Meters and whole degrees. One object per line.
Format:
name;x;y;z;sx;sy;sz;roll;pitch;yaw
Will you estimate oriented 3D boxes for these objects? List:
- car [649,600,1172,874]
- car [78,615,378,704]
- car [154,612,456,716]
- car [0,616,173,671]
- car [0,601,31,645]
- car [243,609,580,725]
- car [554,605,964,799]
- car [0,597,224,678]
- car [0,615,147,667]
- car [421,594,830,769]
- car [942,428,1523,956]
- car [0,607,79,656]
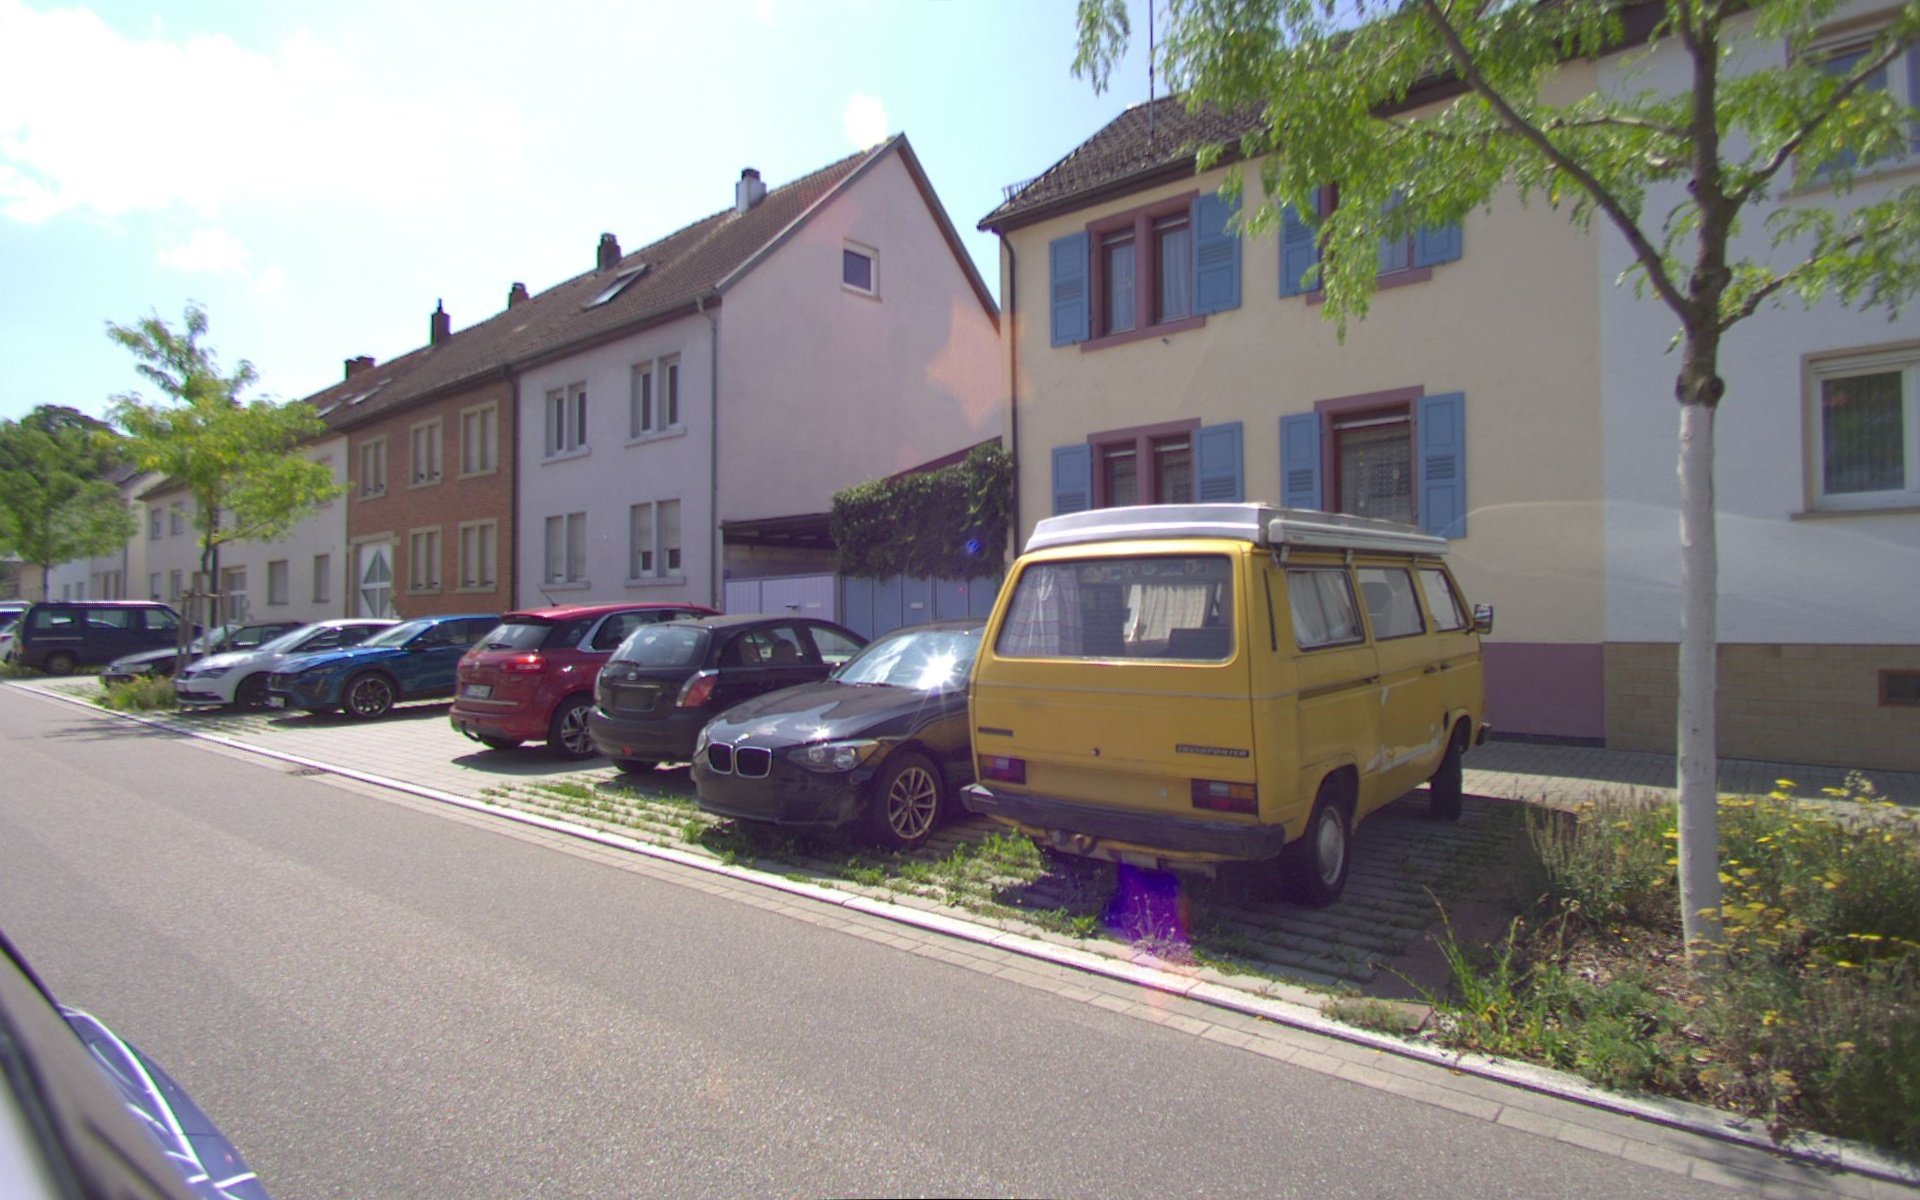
car;-0.130;0.773;7.703;1.754;1.470;3.969;-1;0;40
car;-14.174;1.060;19.829;1.794;1.436;4.478;-1;0;40
car;-11.126;0.994;17.425;1.773;1.489;4.016;-1;0;37
car;-26.999;1.292;31.340;1.772;1.500;3.874;-1;0;42
car;-51.890;1.255;52.553;2.154;2.305;5.117;-1;0;38
car;-8.487;0.939;16.030;1.772;1.489;4.364;-1;0;36
car;-1.791;0.817;9.989;1.753;1.470;3.756;-1;0;37
car;-23.444;0.962;28.104;1.952;2.011;4.564;-1;0;42
car;-28.978;1.297;32.804;1.772;1.500;3.874;-1;0;42
car;-3.692;0.776;11.820;1.841;1.623;4.211;-1;0;39
car;2.075;0.369;6.547;1.924;2.193;4.463;-1;0;40
car;-39.601;1.304;41.791;1.999;1.921;4.629;0;1;40
